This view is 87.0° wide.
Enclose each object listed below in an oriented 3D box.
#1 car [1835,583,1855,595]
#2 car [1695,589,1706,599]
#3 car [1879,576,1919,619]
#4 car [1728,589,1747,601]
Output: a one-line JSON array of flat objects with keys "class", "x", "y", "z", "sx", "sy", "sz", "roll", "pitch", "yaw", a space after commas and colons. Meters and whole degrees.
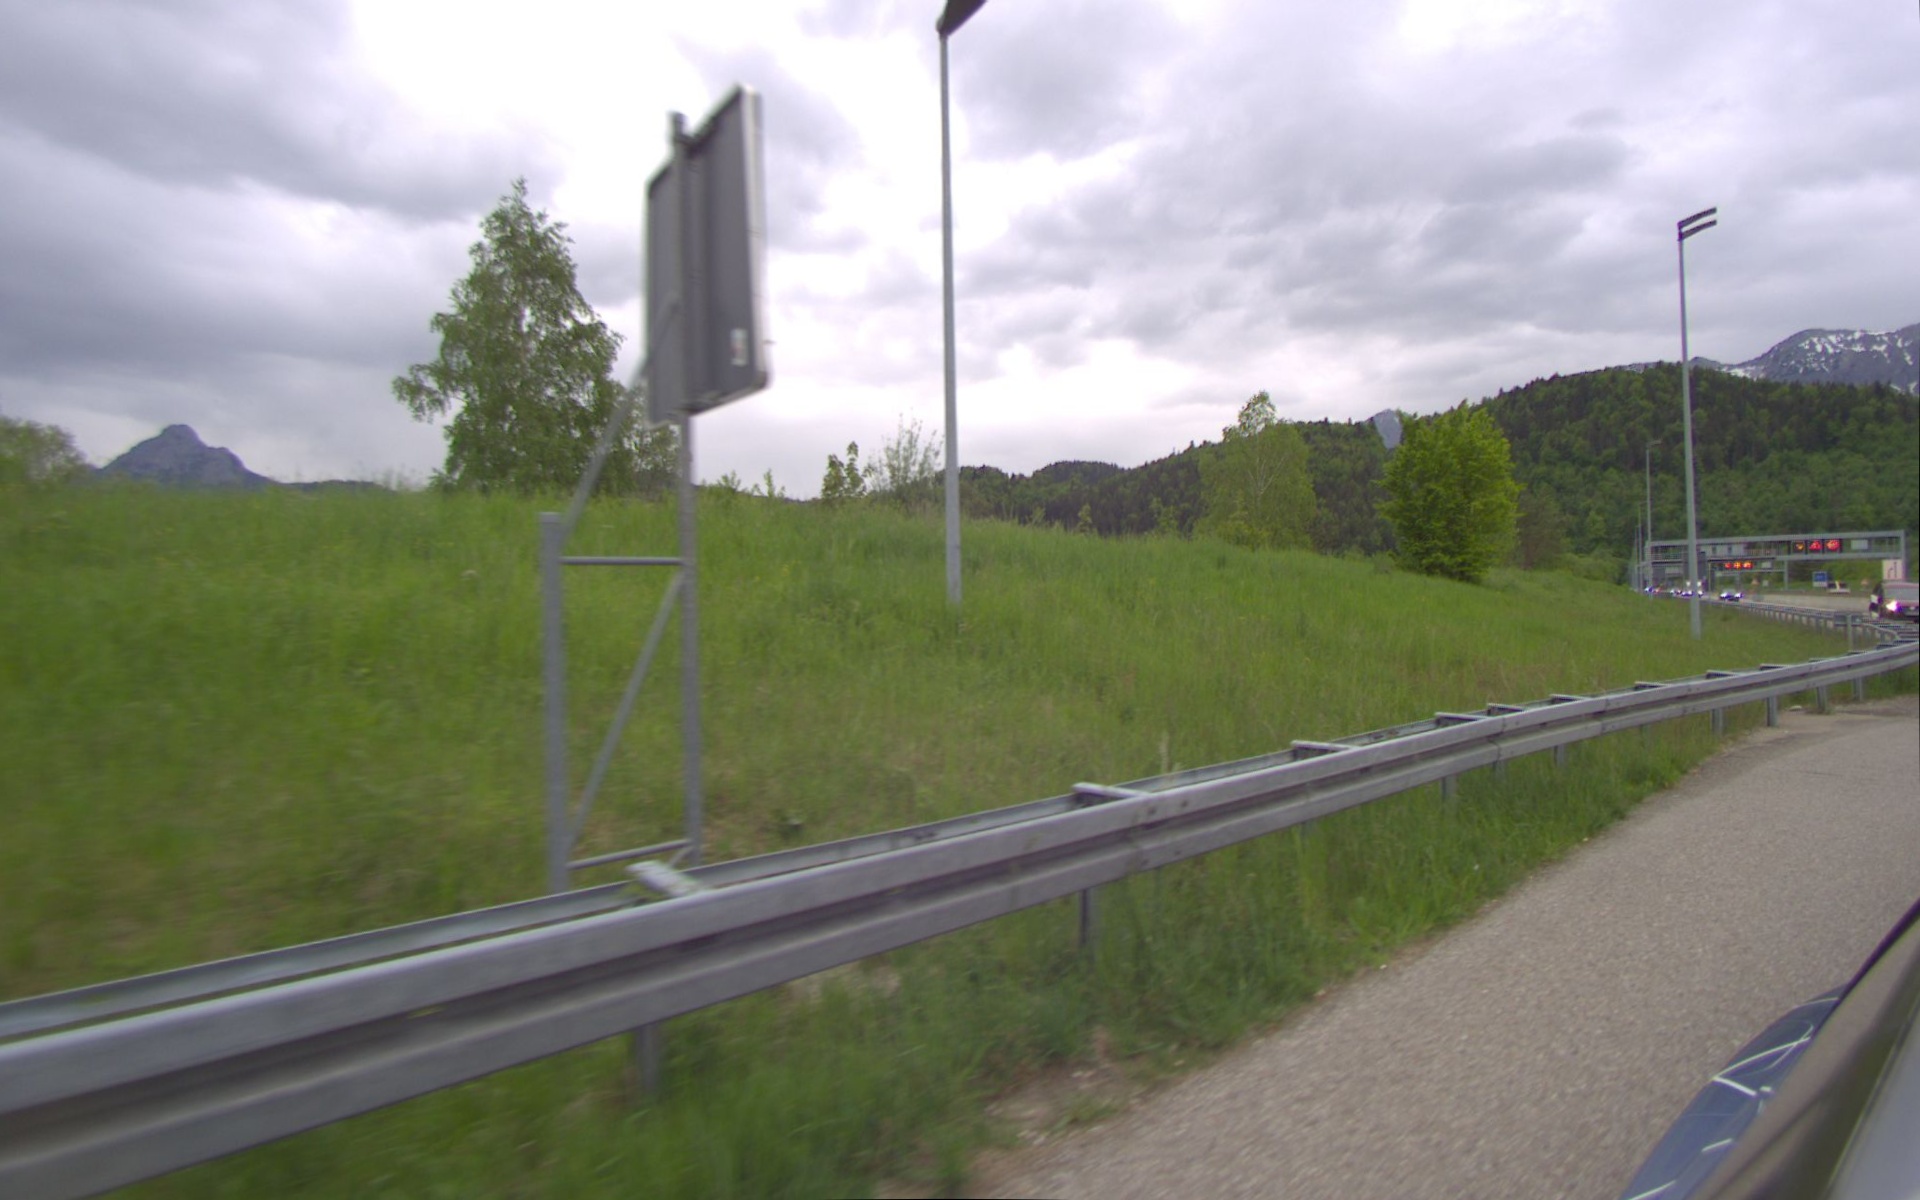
[{"class": "car", "x": 124.337, "y": -1.559, "z": 142.152, "sx": 1.905, "sy": 1.719, "sz": 3.448, "roll": 1, "pitch": 1, "yaw": 38}, {"class": "car", "x": 137.384, "y": -1.112, "z": 187.713, "sx": 1.623, "sy": 1.719, "sz": 3.448, "roll": 1, "pitch": 1, "yaw": 38}, {"class": "car", "x": 41.927, "y": -0.121, "z": 44.407, "sx": 1.745, "sy": 1.828, "sz": 3.952, "roll": 1, "pitch": 1, "yaw": 34}, {"class": "car", "x": 94.093, "y": -0.632, "z": 122.505, "sx": 1.654, "sy": 1.354, "sz": 3.746, "roll": 1, "pitch": 1, "yaw": 34}]
